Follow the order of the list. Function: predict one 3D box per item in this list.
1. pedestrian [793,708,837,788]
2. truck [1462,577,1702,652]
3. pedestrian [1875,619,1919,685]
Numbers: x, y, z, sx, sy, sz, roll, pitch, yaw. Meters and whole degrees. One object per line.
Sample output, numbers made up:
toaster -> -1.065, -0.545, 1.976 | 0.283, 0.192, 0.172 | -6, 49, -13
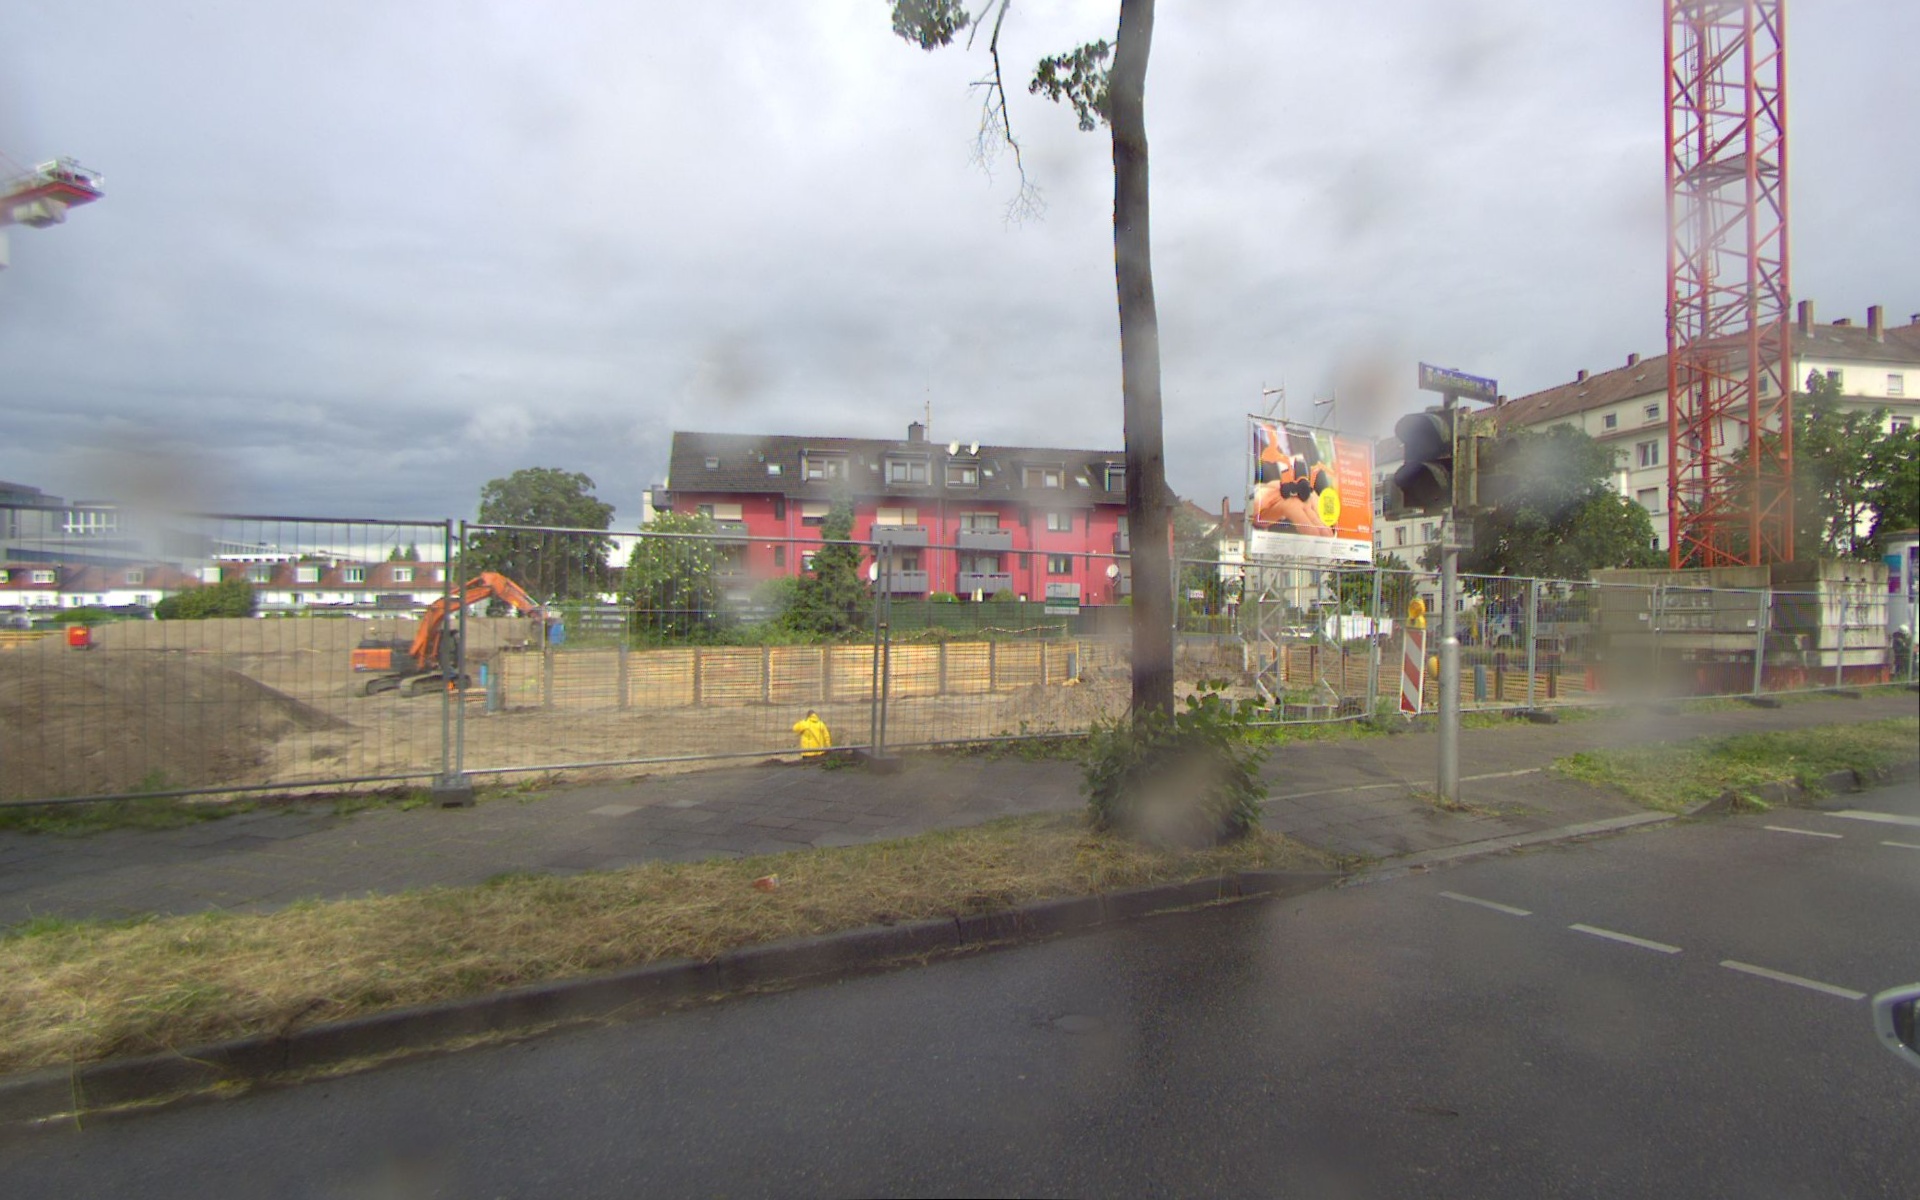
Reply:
pedestrian -> -3.252, 3.303, 22.545 | 0.837, 1.706, 0.585 | 1, -4, -25
truck -> 29.454, 0.816, 48.403 | 3.731, 3.226, 9.812 | 0, -2, -17
pedestrian -> 24.255, 1.339, 25.943 | 0.710, 1.651, 0.684 | 1, 0, 23
